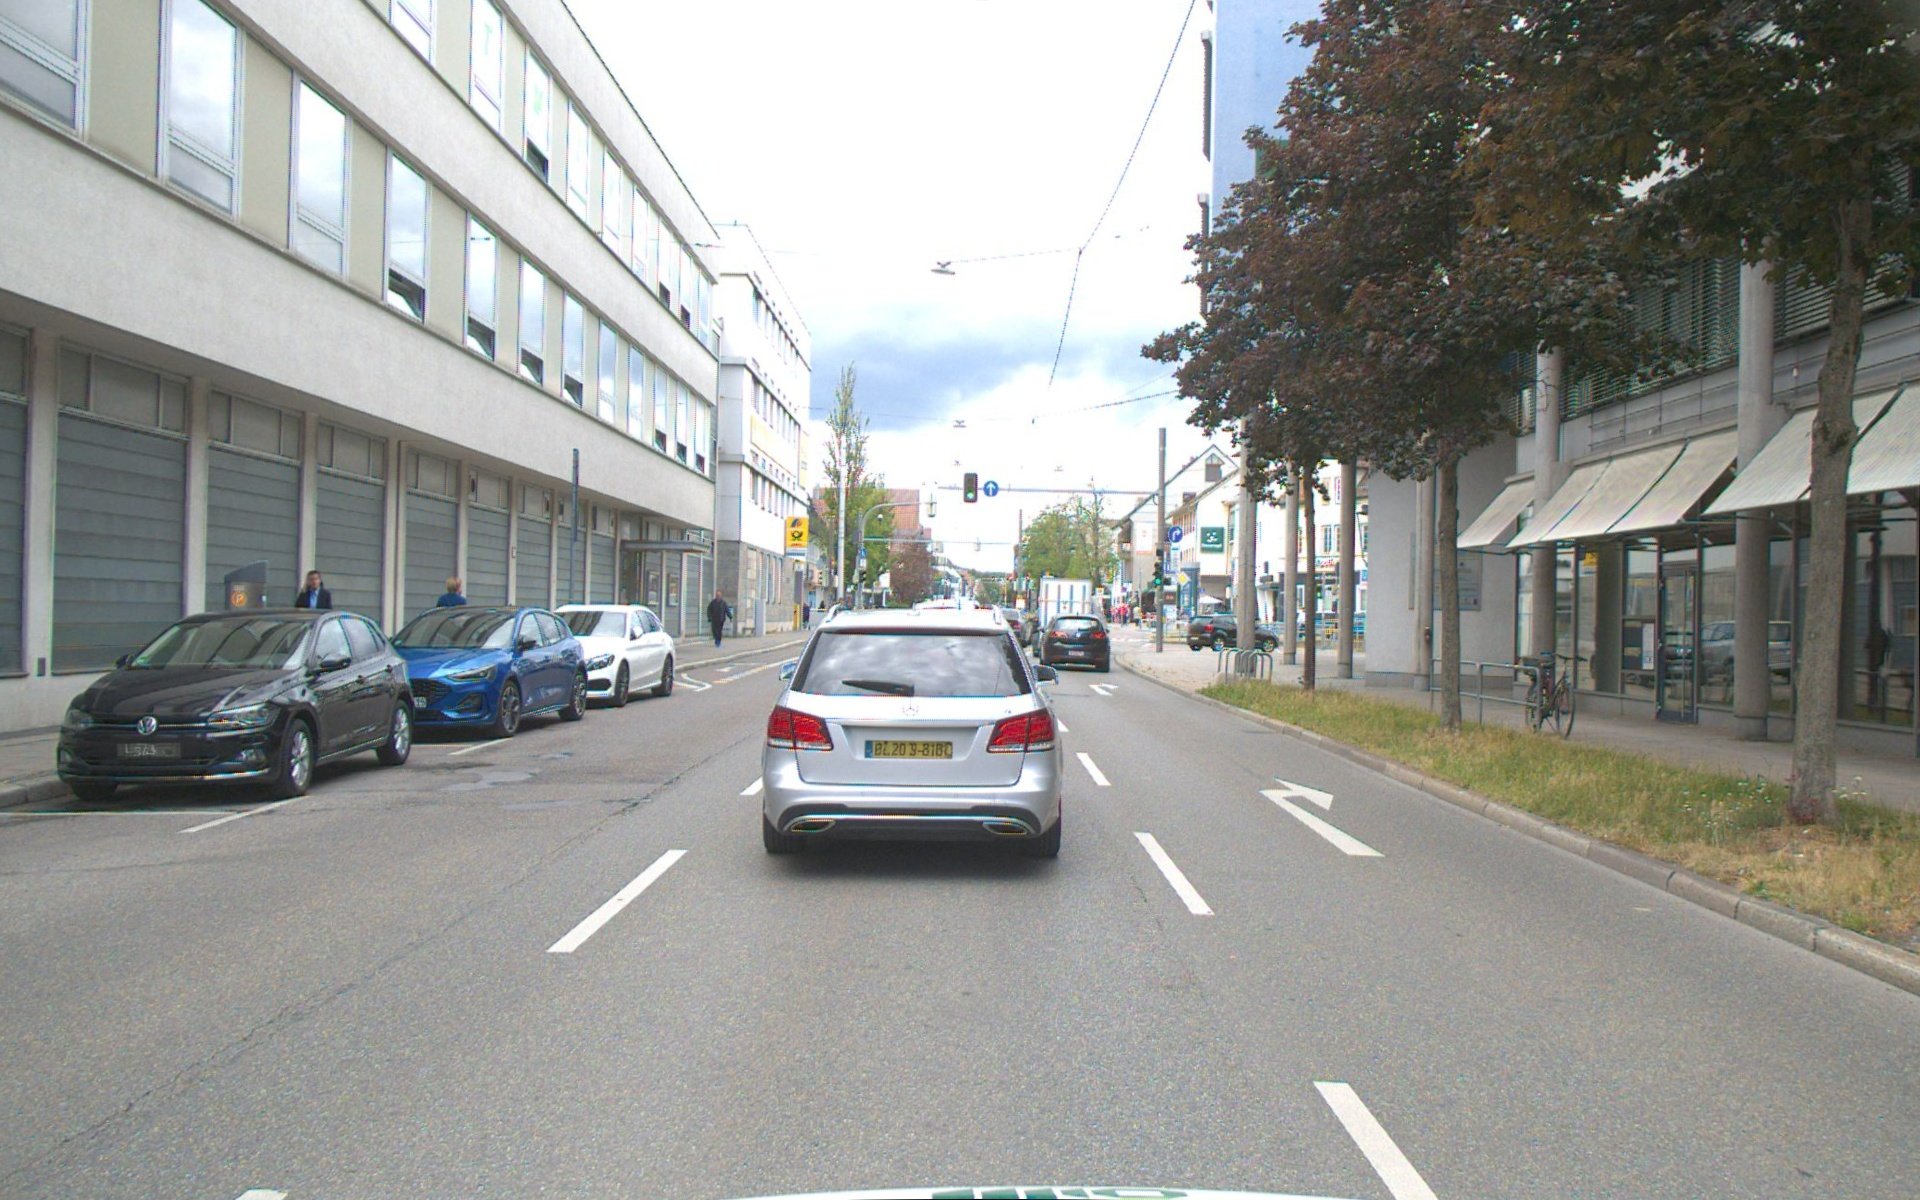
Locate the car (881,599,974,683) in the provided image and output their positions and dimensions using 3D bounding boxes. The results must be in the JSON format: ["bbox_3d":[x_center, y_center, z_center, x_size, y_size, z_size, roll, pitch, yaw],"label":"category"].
[{"bbox_3d":[-0.651,0.763,32.625,1.699,1.534,3.999,1,0,-1],"label":"car"}]

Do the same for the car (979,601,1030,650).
[{"bbox_3d":[1.699,0.978,64.320,1.791,1.816,3.999,1,0,-1],"label":"car"}]

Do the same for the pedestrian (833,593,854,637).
[{"bbox_3d":[-4.756,0.603,67.623,0.634,1.748,0.783,2,0,8],"label":"pedestrian"}]

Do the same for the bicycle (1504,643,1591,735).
[{"bbox_3d":[7.752,1.154,21.893,0.353,1.105,2.027,2,0,-1],"label":"bicycle"}]

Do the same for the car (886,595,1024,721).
[{"bbox_3d":[-0.068,0.736,22.727,1.699,1.534,4.000,2,0,0],"label":"car"}]

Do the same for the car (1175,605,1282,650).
[{"bbox_3d":[10.541,1.071,64.951,3.736,1.699,1.915,1,0,-24],"label":"car"}]

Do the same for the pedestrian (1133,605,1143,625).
[{"bbox_3d":[13.838,1.150,128.402,0.567,1.495,0.650,2,-1,-7],"label":"pedestrian"}]

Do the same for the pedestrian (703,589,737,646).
[{"bbox_3d":[-7.513,0.547,51.819,0.844,1.748,1.031,2,0,-2],"label":"pedestrian"}]

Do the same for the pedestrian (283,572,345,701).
[{"bbox_3d":[-8.882,0.493,22.768,0.577,1.748,0.649,1,0,-2],"label":"pedestrian"}]

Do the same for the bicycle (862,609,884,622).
[{"bbox_3d":[-7.716,1.401,146.853,1.902,1.047,0.529,2,-1,-9],"label":"bicycle"}]

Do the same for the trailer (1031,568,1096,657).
[{"bbox_3d":[3.329,0.401,53.834,1.839,2.658,4.324,3,0,2],"label":"trailer"}]

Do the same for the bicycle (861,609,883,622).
[{"bbox_3d":[-7.842,1.401,147.515,1.902,1.047,0.529,2,-1,-9],"label":"bicycle"}]

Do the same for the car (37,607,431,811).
[{"bbox_3d":[-5.882,0.798,13.935,1.681,1.450,3.869,-1,0,-2],"label":"car"}]

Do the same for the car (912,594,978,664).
[{"bbox_3d":[-0.431,0.759,45.106,1.699,1.790,3.999,1,0,-1],"label":"car"}]

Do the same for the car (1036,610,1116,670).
[{"bbox_3d":[2.992,1.007,43.235,1.699,1.435,3.999,1,0,-1],"label":"car"}]

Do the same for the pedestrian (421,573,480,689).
[{"bbox_3d":[-7.852,0.470,25.513,0.577,1.748,1.055,1,0,-1],"label":"pedestrian"}]

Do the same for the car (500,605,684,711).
[{"bbox_3d":[-5.536,0.816,25.451,1.635,1.459,4.554,-1,0,2],"label":"car"}]

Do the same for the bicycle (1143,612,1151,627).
[{"bbox_3d":[14.152,1.438,125.235,0.438,1.110,2.149,1,0,2],"label":"bicycle"}]

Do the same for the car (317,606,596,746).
[{"bbox_3d":[-5.784,0.813,19.575,1.777,1.451,4.266,-1,0,3],"label":"car"}]

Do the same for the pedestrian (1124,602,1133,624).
[{"bbox_3d":[13.425,1.026,131.944,0.567,1.695,0.650,2,-1,-8],"label":"pedestrian"}]

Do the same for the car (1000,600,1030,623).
[{"bbox_3d":[3.550,0.714,107.553,1.699,1.435,3.999,1,0,-1],"label":"car"}]

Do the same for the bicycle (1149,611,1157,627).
[{"bbox_3d":[14.592,1.437,125.230,0.438,1.127,2.149,1,0,2],"label":"bicycle"}]

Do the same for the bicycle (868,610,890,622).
[{"bbox_3d":[-7.369,1.440,150.835,1.902,1.047,0.529,2,-1,-9],"label":"bicycle"}]

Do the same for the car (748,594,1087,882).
[{"bbox_3d":[-0.270,0.750,10.999,1.808,1.534,4.170,1,0,-1],"label":"car"}]
